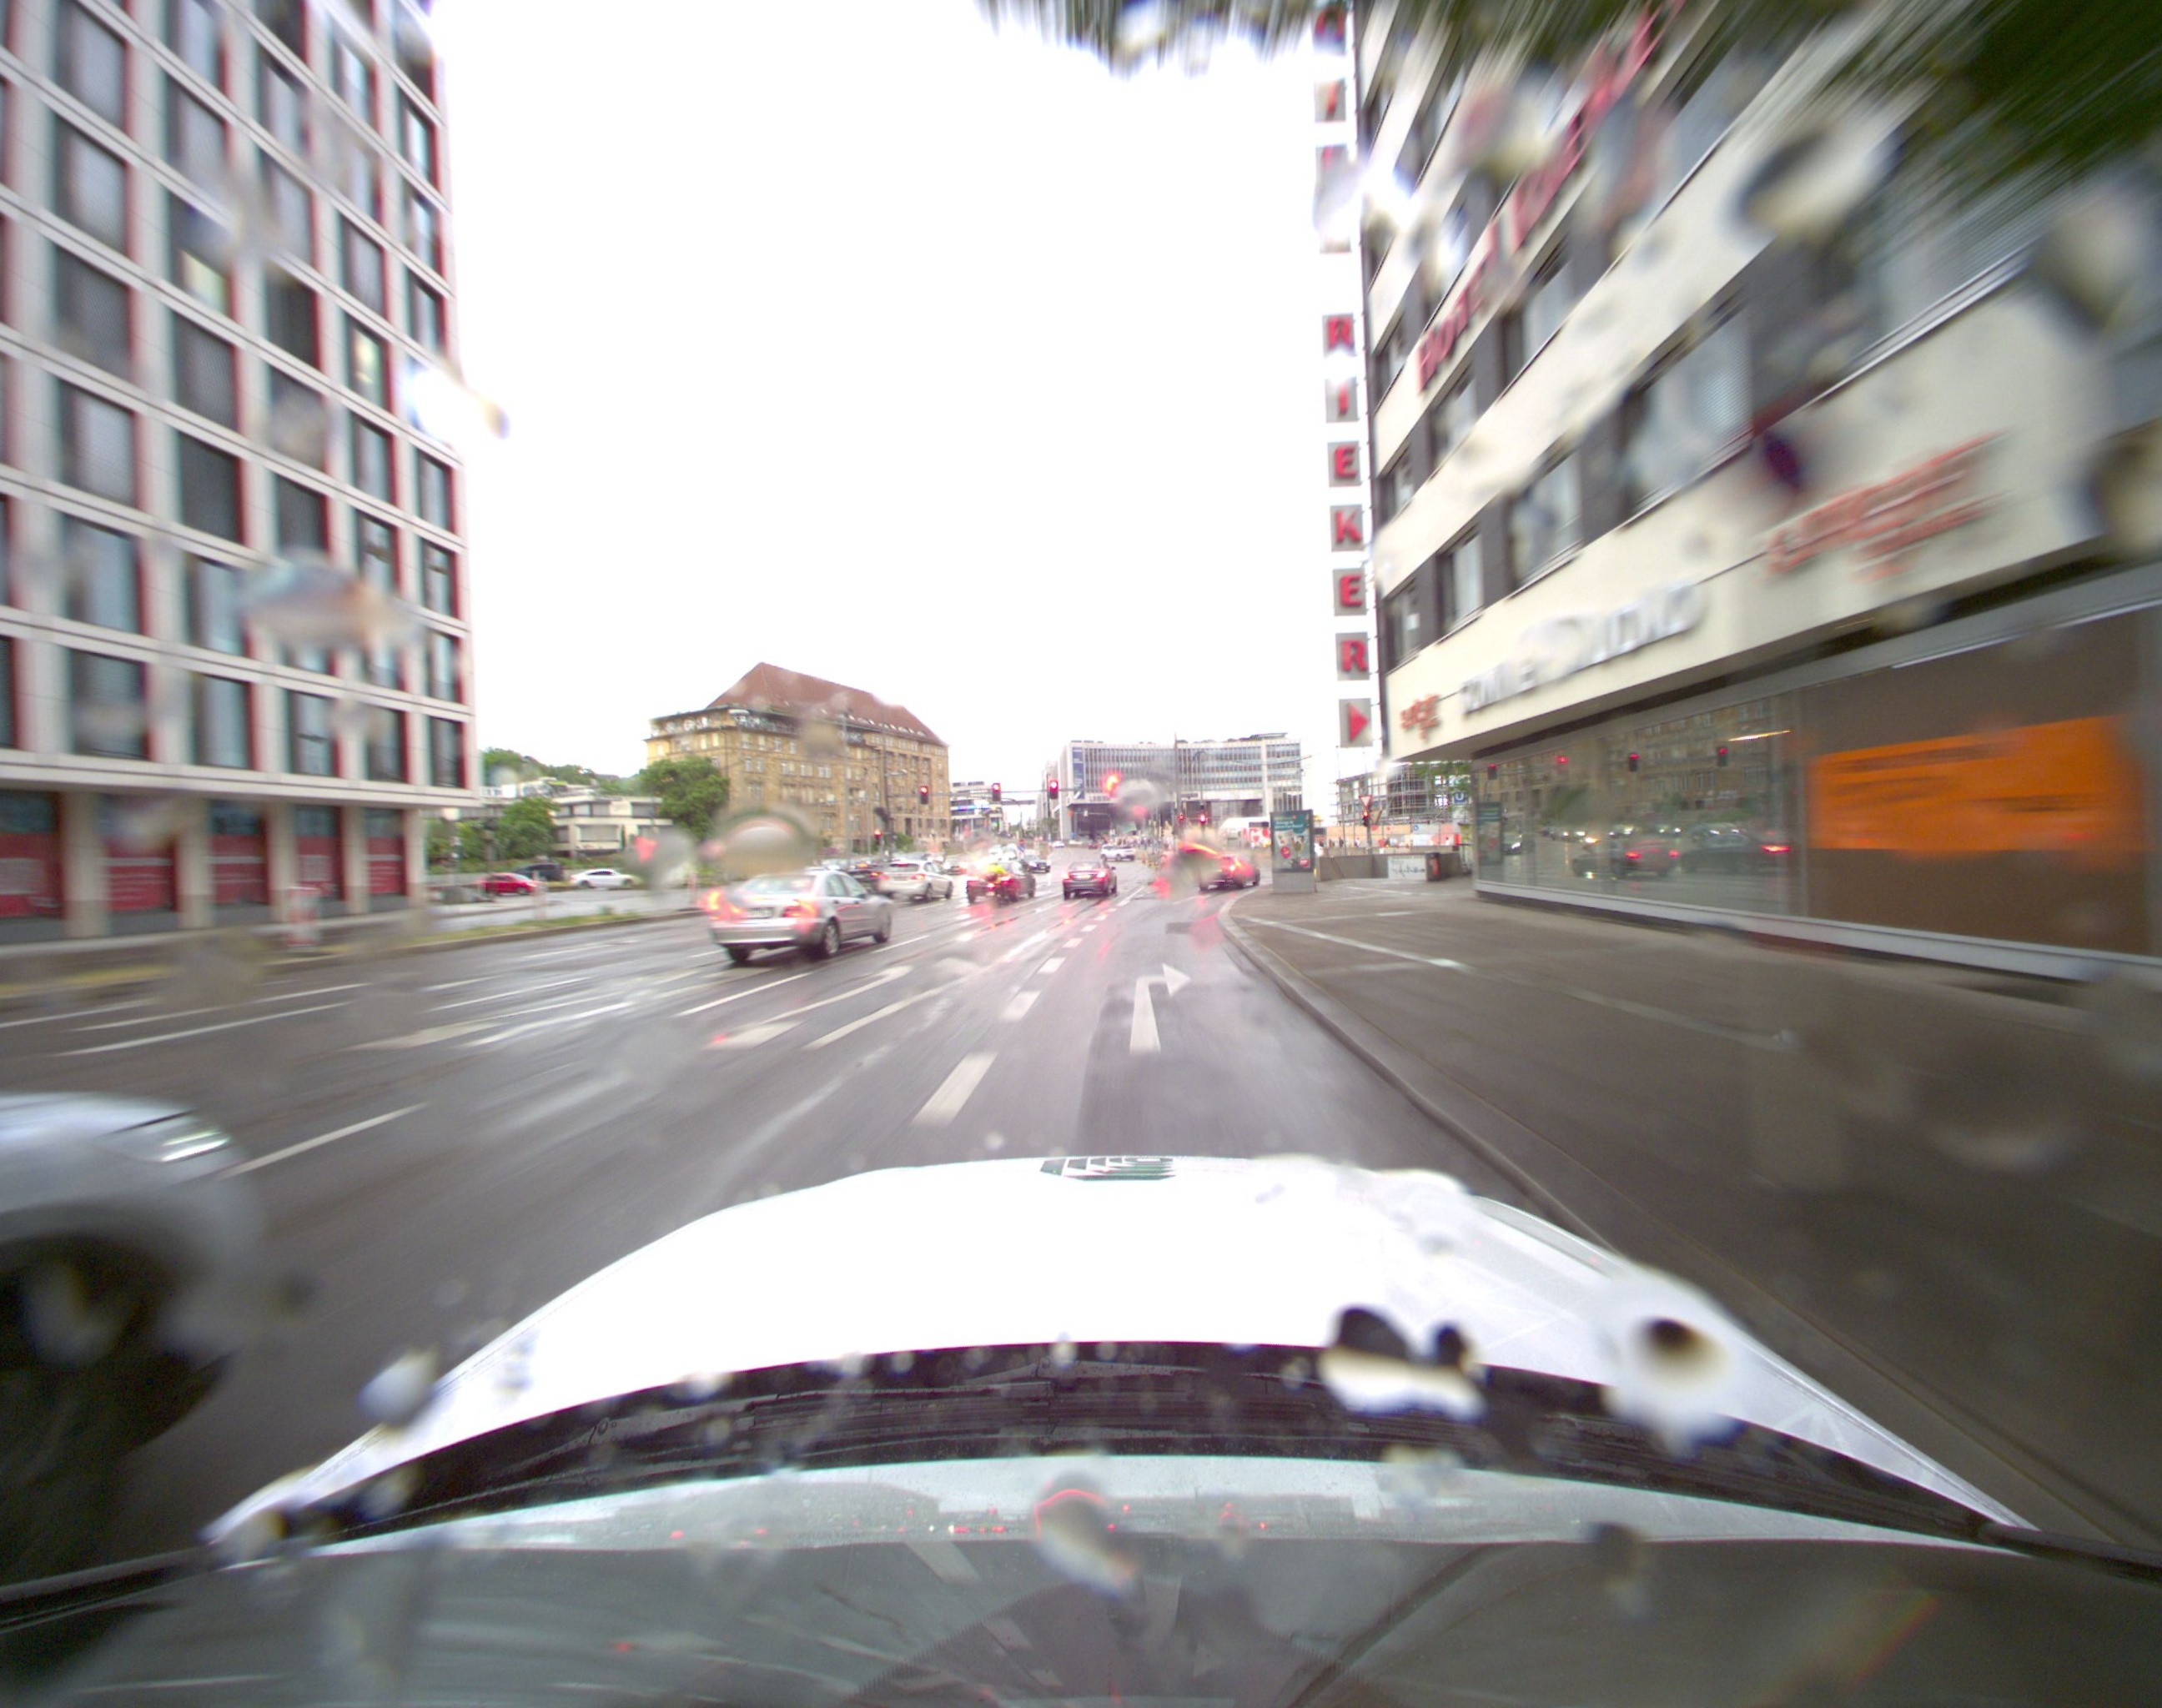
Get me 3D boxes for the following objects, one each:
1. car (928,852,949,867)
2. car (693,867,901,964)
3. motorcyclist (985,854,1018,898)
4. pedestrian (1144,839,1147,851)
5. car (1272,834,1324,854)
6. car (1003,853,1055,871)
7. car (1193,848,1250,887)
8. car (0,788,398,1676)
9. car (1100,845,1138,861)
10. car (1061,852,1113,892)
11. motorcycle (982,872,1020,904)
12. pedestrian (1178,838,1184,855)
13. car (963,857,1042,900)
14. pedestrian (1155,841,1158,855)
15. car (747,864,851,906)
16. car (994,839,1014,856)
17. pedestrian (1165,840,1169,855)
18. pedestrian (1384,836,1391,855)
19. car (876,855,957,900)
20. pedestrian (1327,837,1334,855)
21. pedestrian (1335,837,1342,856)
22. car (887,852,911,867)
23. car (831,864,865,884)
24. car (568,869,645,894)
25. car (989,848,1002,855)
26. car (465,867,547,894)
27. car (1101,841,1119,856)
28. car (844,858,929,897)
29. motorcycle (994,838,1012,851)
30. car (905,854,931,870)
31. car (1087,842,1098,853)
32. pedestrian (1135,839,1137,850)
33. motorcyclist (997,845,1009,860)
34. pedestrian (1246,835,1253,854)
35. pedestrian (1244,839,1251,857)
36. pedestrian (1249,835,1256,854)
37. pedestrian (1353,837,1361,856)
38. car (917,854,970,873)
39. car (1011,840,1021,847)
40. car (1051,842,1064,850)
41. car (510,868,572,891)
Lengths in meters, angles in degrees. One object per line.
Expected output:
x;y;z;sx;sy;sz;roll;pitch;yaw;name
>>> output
-15.903;0.598;90.987;1.692;1.574;3.998;-1;-1;-1;car
-4.721;0.948;14.305;1.724;1.404;4.390;-1;-1;6;car
-2.693;0.737;27.585;0.937;1.475;1.101;-1;-1;2;motorcyclist
9.905;-1.381;125.769;0.360;1.898;0.576;-1;-1;-3;pedestrian
20.233;-0.897;75.956;4.384;1.766;2.002;-1;-1;4;car
-4.109;0.646;64.035;2.011;1.345;4.062;0;-1;-43;car
6.057;0.565;34.779;1.877;1.544;4.010;-1;-1;16;car
-2.957;0.707;0.320;1.802;1.661;4.171;-1;-1;1;car
3.963;-0.091;85.046;2.008;1.640;3.958;0;-1;-33;car
0.314;0.674;32.879;1.775;1.402;4.492;-1;1;4;car
-2.689;1.128;27.551;0.938;0.989;2.296;-1;0;3;motorcycle
11.439;-0.862;93.378;0.363;1.898;0.570;0;-1;-33;pedestrian
-2.927;0.901;31.460;1.876;1.515;5.014;-1;-1;8;car
10.551;-0.830;113.947;0.361;1.898;0.575;-1;-1;-8;pedestrian
-10.161;1.085;29.675;1.772;1.373;4.005;-1;-1;11;car
-8.635;-0.671;91.437;1.990;1.798;5.095;-1;-1;-4;car
11.166;-0.817;106.072;0.361;1.898;0.574;-1;-1;-12;pedestrian
30.656;-0.843;81.408;0.572;1.898;0.362;-1;-1;3;pedestrian
-6.385;0.888;32.058;1.722;1.616;4.011;-1;-1;10;car
25.822;-0.826;84.224;0.571;1.898;0.363;-1;-1;6;pedestrian
26.287;-0.787;83.133;0.571;1.898;0.363;-1;-1;6;pedestrian
-19.500;0.597;87.278;1.692;1.574;3.998;-1;-1;-1;car
-19.893;1.658;69.657;1.691;1.519;3.875;-3;0;1;car
-34.026;1.985;58.550;4.389;1.662;1.990;-1;-1;-15;car
-15.279;-0.414;146.039;1.761;1.260;4.195;-1;-1;2;car
-36.703;1.695;52.035;3.980;1.596;1.673;-1;-1;-5;car
3.616;-0.701;102.898;1.727;1.639;3.426;-1;3;-8;car
-8.521;1.019;36.013;1.769;1.600;4.091;-1;-1;17;car
-7.040;-0.875;73.314;0.853;1.108;2.124;-1;-1;-26;motorcycle
-16.203;0.812;81.147;1.796;1.574;4.073;-1;-1;-1;car
2.373;-1.336;162.589;1.988;2.014;3.997;-1;-1;-2;car
9.398;-1.608;139.023;0.360;1.898;0.576;-1;-1;-3;pedestrian
-7.015;-0.158;73.292;0.851;1.358;0.940;-1;-1;-26;motorcyclist
17.227;-1.012;83.292;0.364;1.898;0.569;-3;-1;-40;pedestrian
16.924;-0.606;82.966;0.364;1.898;0.569;0;-1;-45;pedestrian
17.561;-1.000;83.563;0.364;1.898;0.570;0;-1;-40;pedestrian
27.799;-0.790;82.034;0.572;1.898;0.362;-1;-1;3;pedestrian
-11.161;0.762;65.989;4.059;1.507;2.013;-2;-1;37;car
-13.658;-2.261;170.813;1.761;1.260;4.001;-1;-1;2;car
-5.584;-1.947;194.415;1.999;1.816;3.974;-1;-1;-19;car
-48.442;2.275;73.146;4.223;2.014;1.988;-1;-1;-18;car
